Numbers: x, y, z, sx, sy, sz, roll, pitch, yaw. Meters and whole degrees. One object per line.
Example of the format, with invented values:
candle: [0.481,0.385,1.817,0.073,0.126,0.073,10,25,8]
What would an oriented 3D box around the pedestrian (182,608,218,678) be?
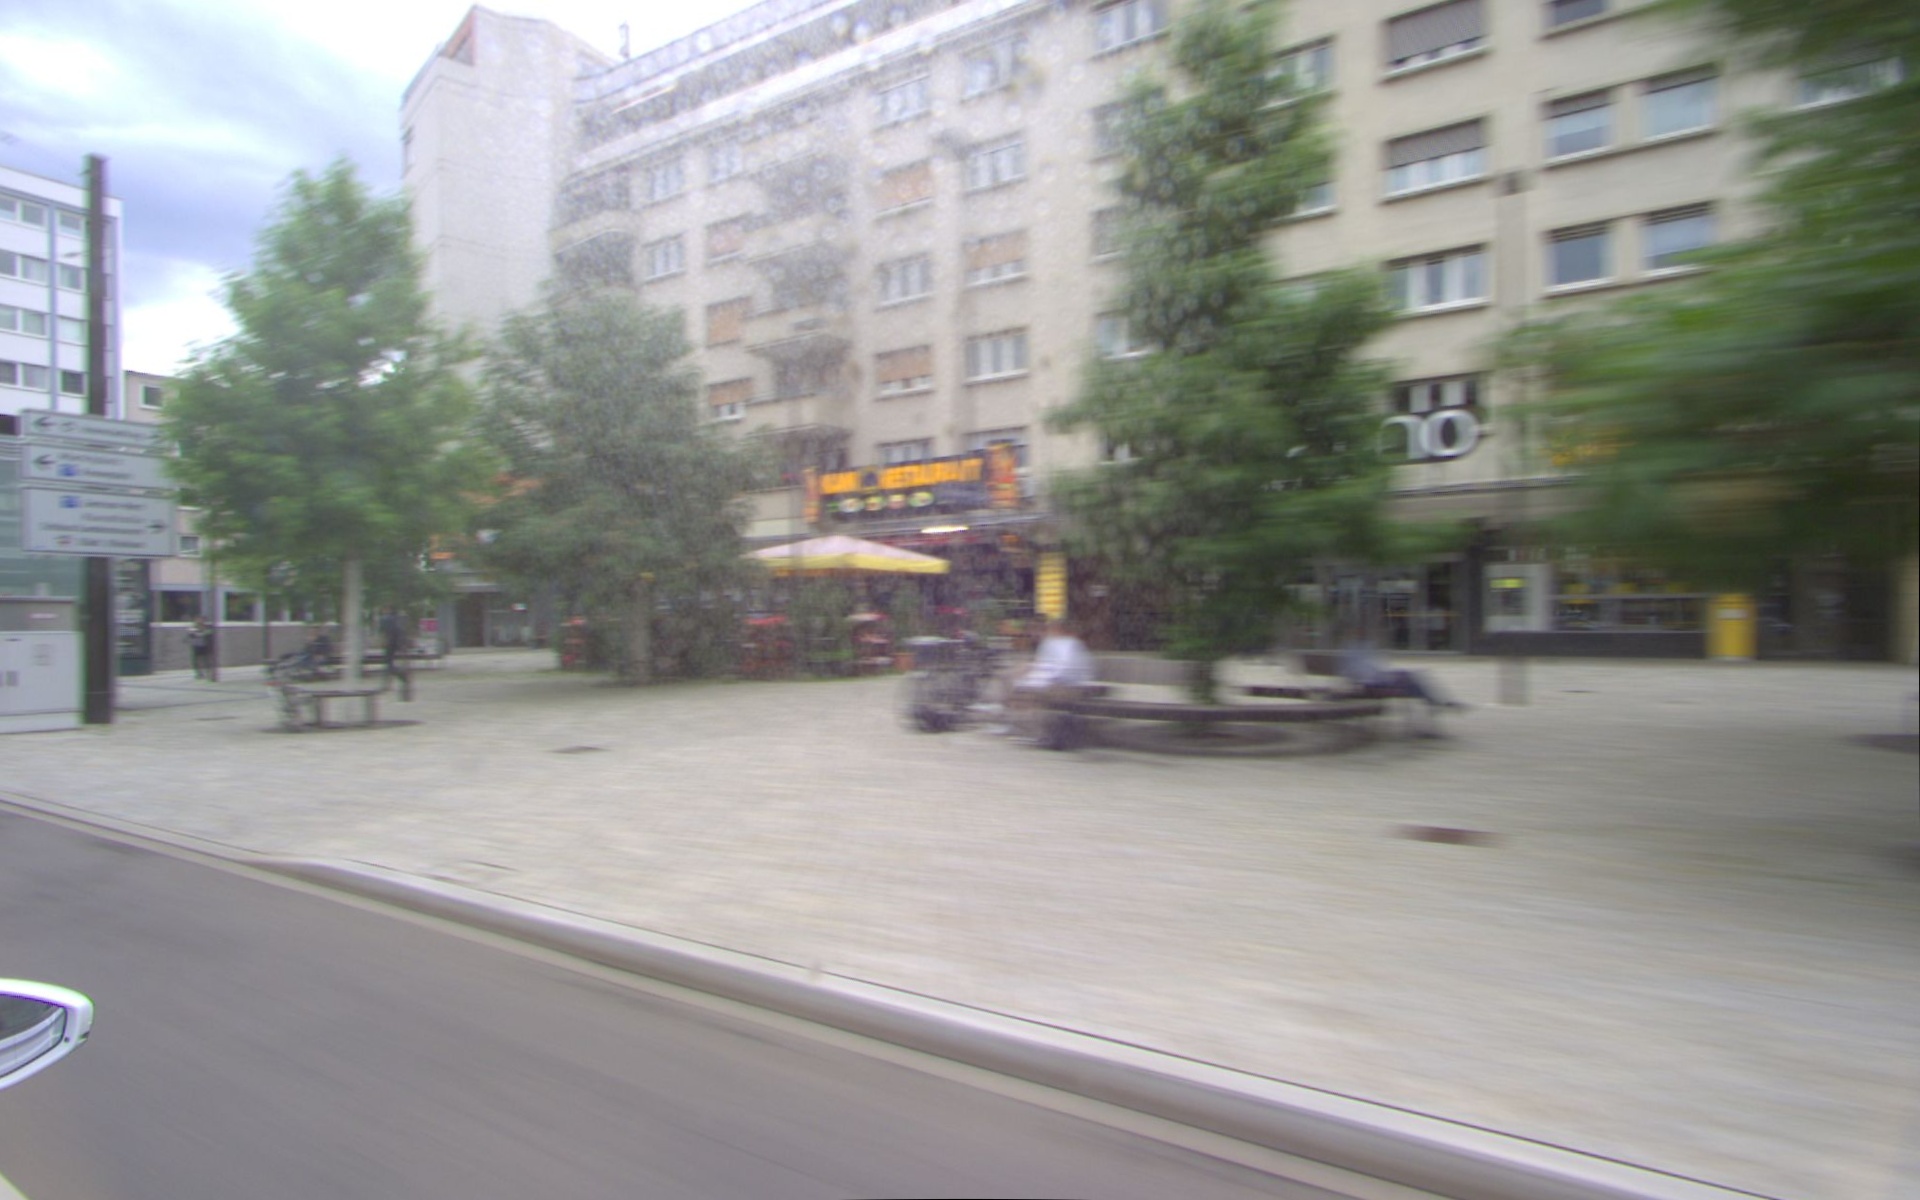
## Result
pedestrian: [-19.653,1.113,25.903,0.666,1.784,0.635,1,-1,-43]

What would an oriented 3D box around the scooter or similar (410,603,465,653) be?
scooter or similar: [-19.691,1.039,37.744,2.248,1.830,1.078,-1,0,41]

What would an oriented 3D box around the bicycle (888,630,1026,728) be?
bicycle: [-0.003,0.990,13.108,2.019,1.126,0.473,-1,1,-43]

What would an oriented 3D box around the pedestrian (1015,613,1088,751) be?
pedestrian: [0.958,0.831,10.382,0.675,1.383,0.629,0,-1,13]

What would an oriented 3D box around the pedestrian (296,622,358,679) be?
pedestrian: [-15.286,1.205,24.197,0.723,1.314,1.040,-1,1,37]

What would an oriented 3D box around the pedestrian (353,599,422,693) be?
pedestrian: [-11.581,0.918,20.272,1.062,1.827,0.712,-1,2,31]

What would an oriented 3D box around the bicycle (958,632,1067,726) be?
bicycle: [0.719,1.010,13.277,1.589,1.126,0.473,-1,1,-43]

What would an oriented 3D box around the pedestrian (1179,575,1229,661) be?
pedestrian: [5.506,0.412,22.643,0.763,1.909,0.850,1,-1,-19]

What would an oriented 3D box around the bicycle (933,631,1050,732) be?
bicycle: [0.414,0.980,12.510,1.589,1.126,0.473,-1,1,-43]

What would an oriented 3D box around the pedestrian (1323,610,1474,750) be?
pedestrian: [4.596,0.806,10.521,1.389,1.383,0.627,-1,-1,31]

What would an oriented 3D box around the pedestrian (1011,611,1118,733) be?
pedestrian: [1.239,0.844,12.062,0.538,1.383,1.269,1,-2,-40]

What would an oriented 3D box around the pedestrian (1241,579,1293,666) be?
pedestrian: [6.440,0.466,21.033,0.762,1.775,0.716,-2,2,-20]

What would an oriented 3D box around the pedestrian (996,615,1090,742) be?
pedestrian: [0.943,0.874,11.447,0.623,1.383,0.911,1,-2,-40]

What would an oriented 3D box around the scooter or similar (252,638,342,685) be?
scooter or similar: [-15.215,1.401,23.010,1.565,0.961,0.723,-2,1,-20]

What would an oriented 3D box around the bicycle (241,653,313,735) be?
bicycle: [-9.371,1.253,13.784,0.650,0.991,1.746,0,-1,-29]
